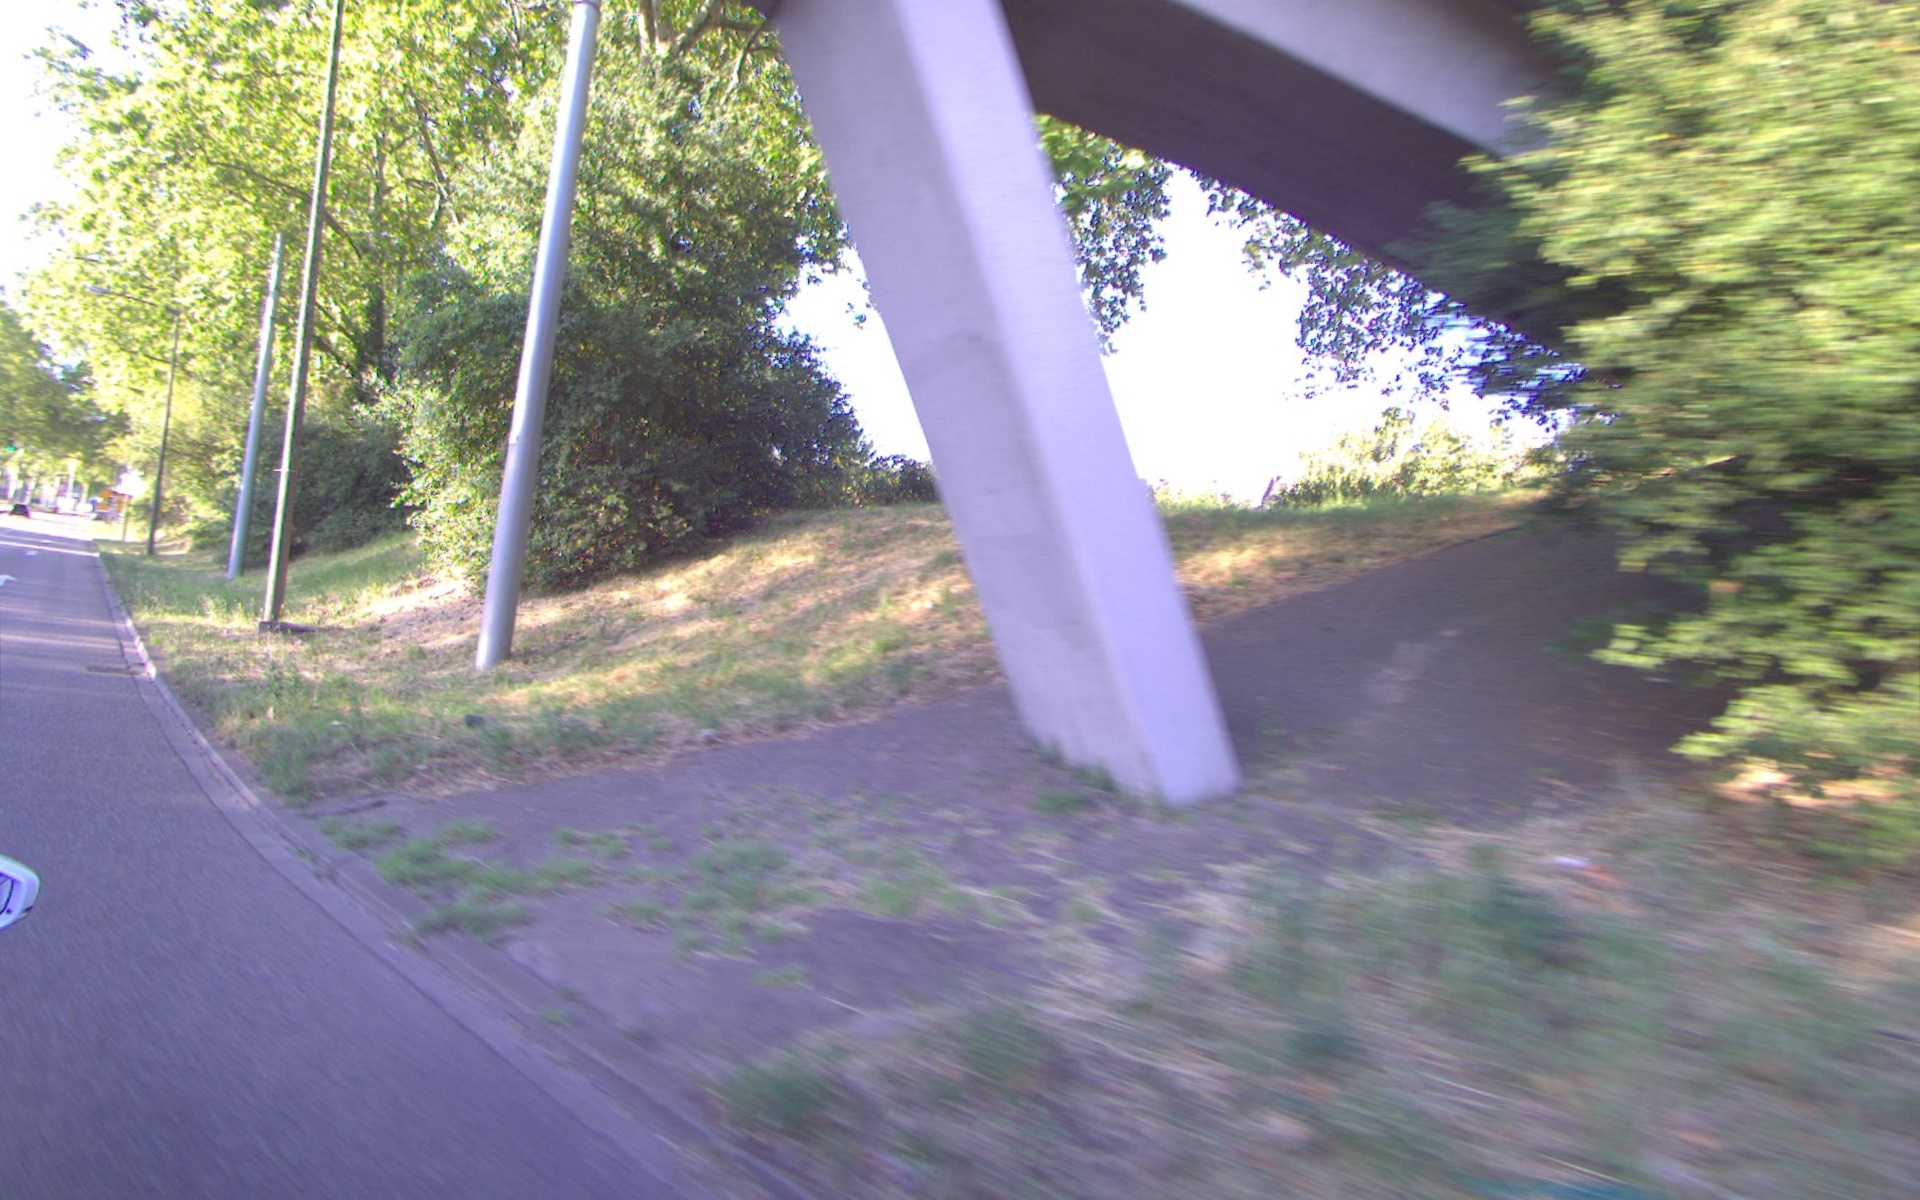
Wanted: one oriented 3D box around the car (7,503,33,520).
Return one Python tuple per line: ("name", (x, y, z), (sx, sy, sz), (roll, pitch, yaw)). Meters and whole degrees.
("car", (-102.515, -9.654, 109.748), (1.787, 1.418, 3.648), (10, -3, -40))
